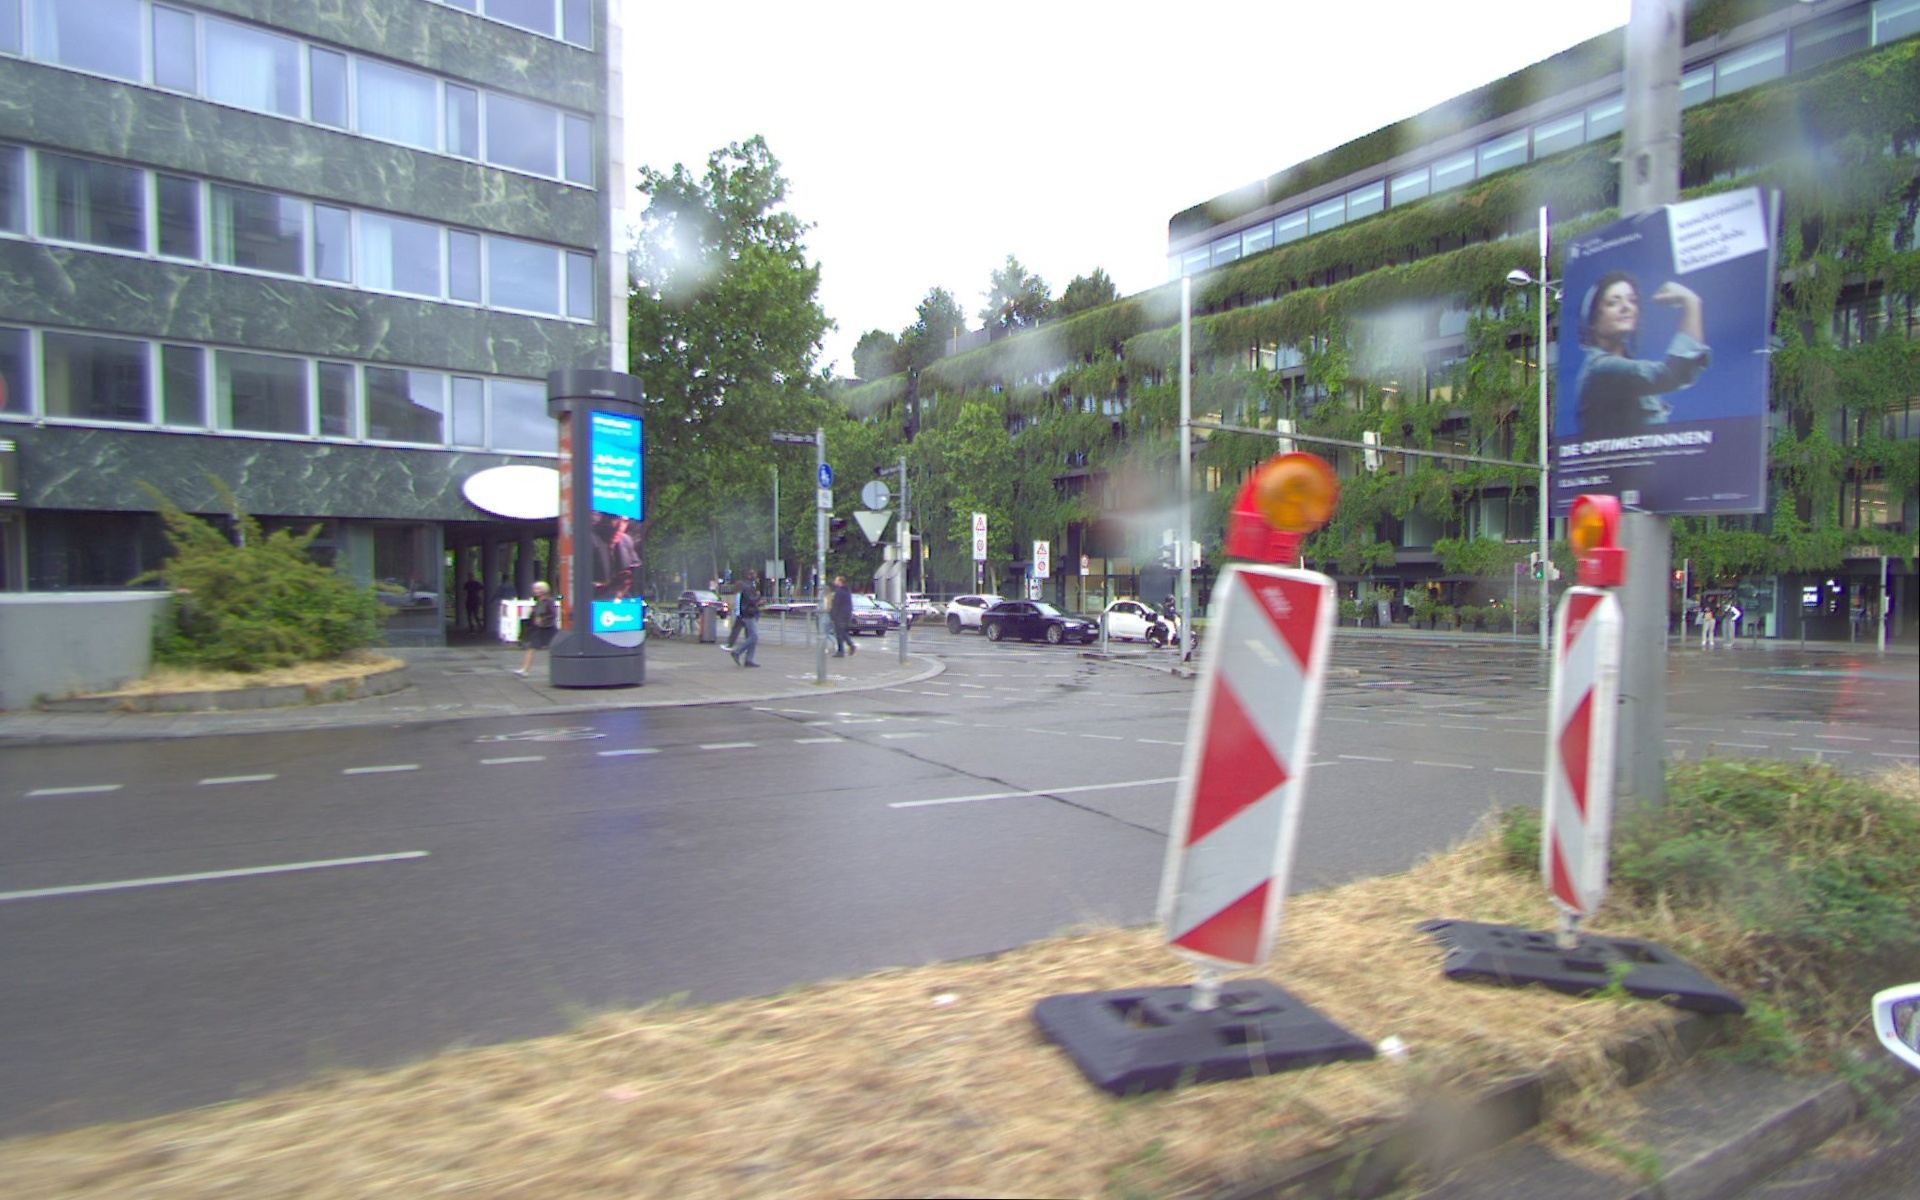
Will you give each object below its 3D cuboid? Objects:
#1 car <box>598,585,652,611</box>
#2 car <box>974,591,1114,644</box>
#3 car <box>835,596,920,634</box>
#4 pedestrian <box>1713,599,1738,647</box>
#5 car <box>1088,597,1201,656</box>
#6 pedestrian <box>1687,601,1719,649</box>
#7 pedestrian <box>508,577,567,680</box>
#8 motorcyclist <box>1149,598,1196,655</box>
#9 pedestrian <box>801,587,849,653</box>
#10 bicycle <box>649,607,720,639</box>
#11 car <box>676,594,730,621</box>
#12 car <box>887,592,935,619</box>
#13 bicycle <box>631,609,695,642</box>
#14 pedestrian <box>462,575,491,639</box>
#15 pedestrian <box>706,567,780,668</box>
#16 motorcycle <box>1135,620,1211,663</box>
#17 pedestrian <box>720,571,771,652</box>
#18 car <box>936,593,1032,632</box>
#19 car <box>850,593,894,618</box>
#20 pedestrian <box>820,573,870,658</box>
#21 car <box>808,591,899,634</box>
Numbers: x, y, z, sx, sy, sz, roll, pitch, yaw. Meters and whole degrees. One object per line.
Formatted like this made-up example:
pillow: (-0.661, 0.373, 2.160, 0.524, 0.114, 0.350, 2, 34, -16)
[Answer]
car: (-22.481, -0.144, 67.305, 1.985, 1.674, 4.050, 2, -1, -42)
car: (2.831, 0.560, 34.835, 1.957, 1.674, 4.755, 1, 0, -43)
car: (-3.963, 0.687, 47.837, 1.985, 1.674, 4.050, 2, -1, -42)
pedestrian: (28.812, 0.857, 37.818, 0.731, 1.781, 0.972, 1, 0, 37)
car: (6.470, 0.889, 35.349, 1.985, 1.948, 3.417, 1, 0, -42)
pedestrian: (28.250, 0.954, 38.195, 0.923, 1.781, 1.167, 1, 0, 37)
pedestrian: (-7.034, 0.466, 16.751, 0.678, 1.675, 0.758, 1, 1, -5)
motorcyclist: (6.588, 0.801, 31.155, 1.173, 1.725, 0.843, 1, 0, 44)
pedestrian: (-3.364, 0.507, 24.964, 0.912, 1.606, 0.828, 0, -3, -30)
bicycle: (-8.562, 0.712, 31.268, 2.170, 0.968, 0.423, 1, 0, -43)
car: (-16.637, 0.485, 64.915, 1.805, 1.674, 4.053, 2, -1, -39)
car: (-3.912, 0.436, 79.403, 1.979, 2.040, 4.073, 1, 0, -34)
bicycle: (-8.832, 0.751, 29.882, 1.773, 0.947, 0.473, 1, 0, -21)
pedestrian: (-14.584, 0.204, 30.288, 0.684, 1.910, 0.751, 0, 1, -34)
pedestrian: (-4.231, 0.335, 19.616, 1.225, 1.911, 0.685, 0, 2, -34)
motorcycle: (6.594, 1.262, 31.147, 2.204, 1.227, 0.843, 1, 0, 44)
pedestrian: (-5.172, 0.293, 24.225, 0.868, 1.878, 1.015, 0, -3, -34)
car: (0.977, 0.485, 41.782, 1.858, 1.543, 3.855, 1, 0, -42)
car: (-7.383, 0.421, 84.304, 1.979, 2.040, 4.073, 1, 0, -34)
pedestrian: (-2.653, 0.366, 23.168, 0.887, 1.910, 0.781, 0, -3, -30)
car: (-4.361, 0.468, 40.670, 1.978, 1.674, 4.200, 0, 0, -33)
